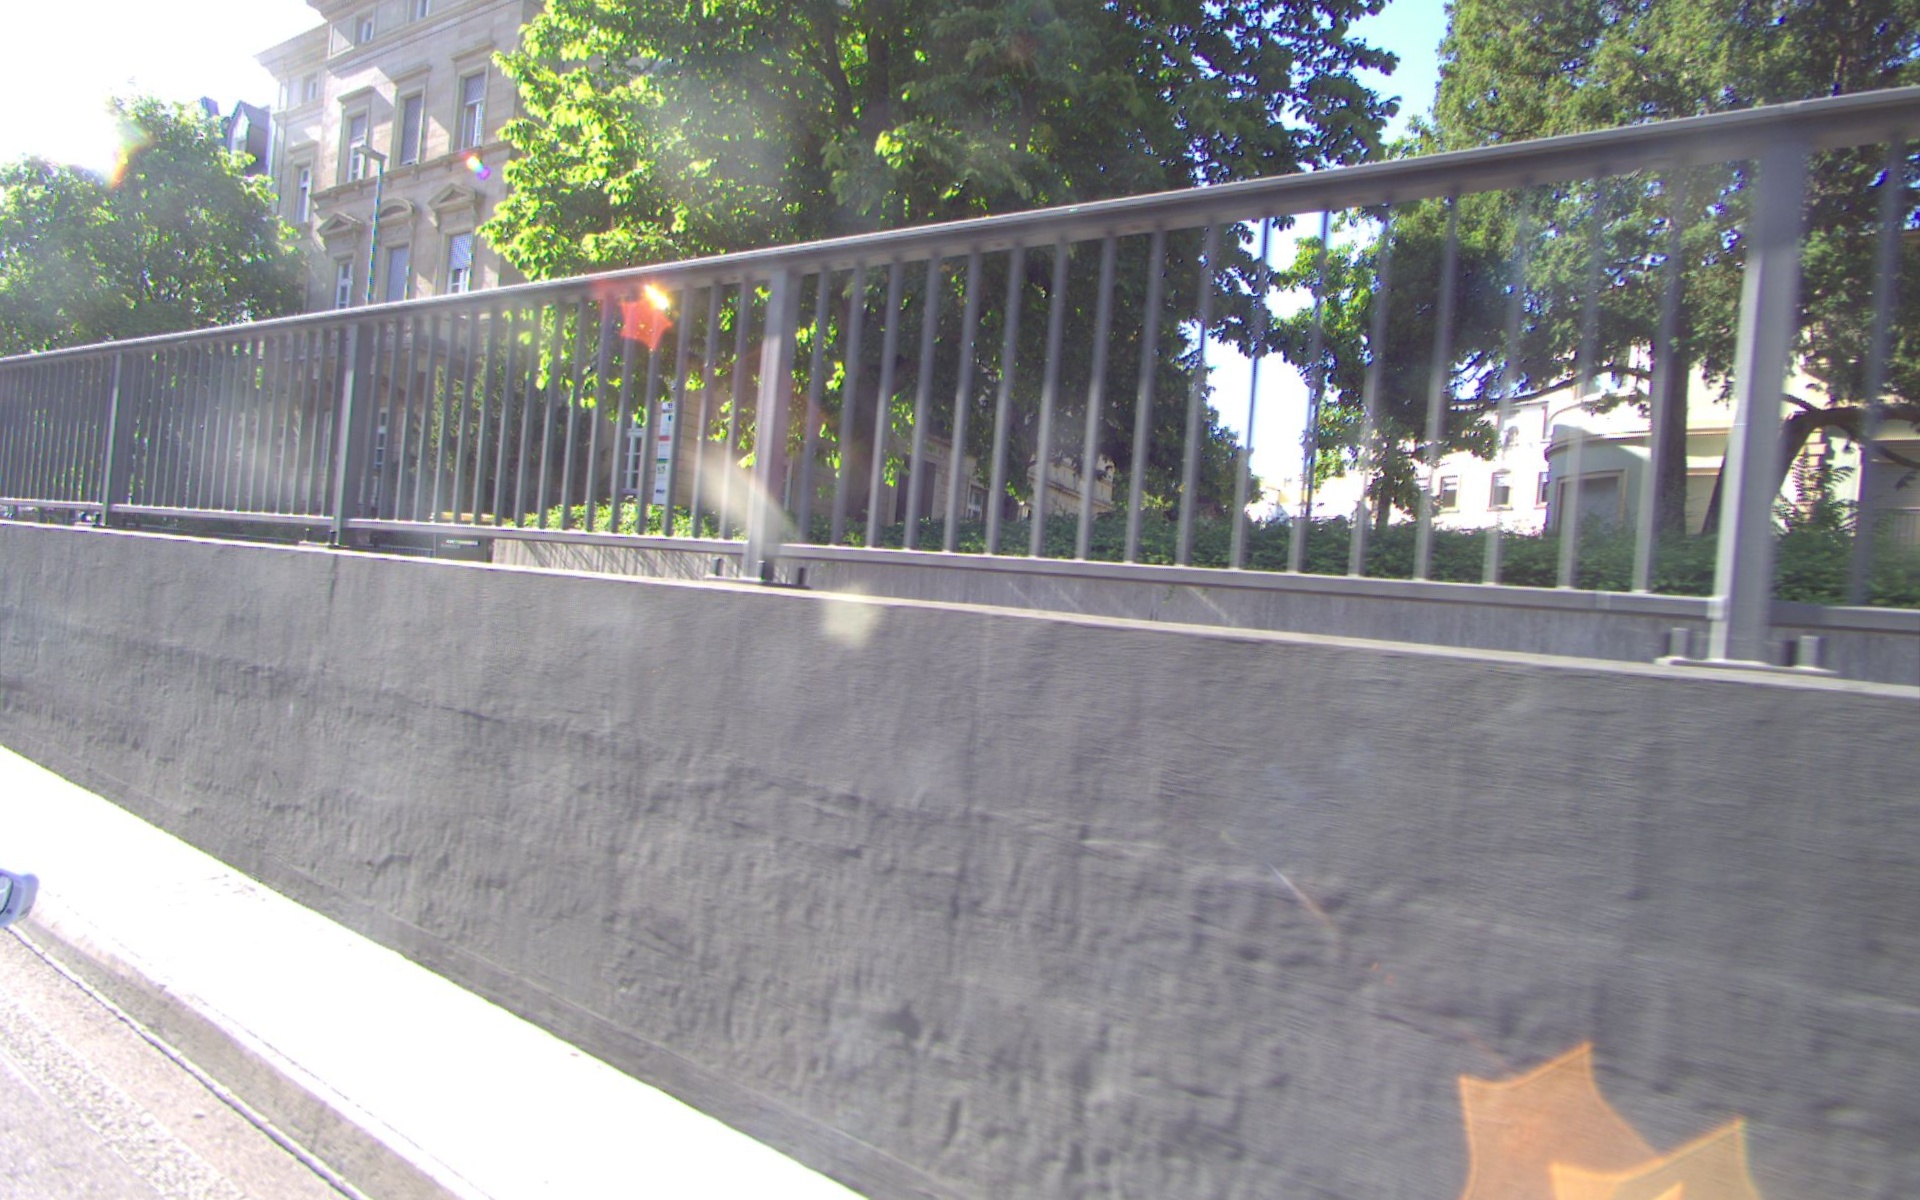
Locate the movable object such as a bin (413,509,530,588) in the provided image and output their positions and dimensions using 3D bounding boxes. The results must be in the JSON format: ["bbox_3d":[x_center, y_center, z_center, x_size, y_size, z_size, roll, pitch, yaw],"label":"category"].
[{"bbox_3d":[-9.379,-0.987,19.384,1.383,1.344,1.448,6,5,14],"label":"movable object such as a bin"}]
